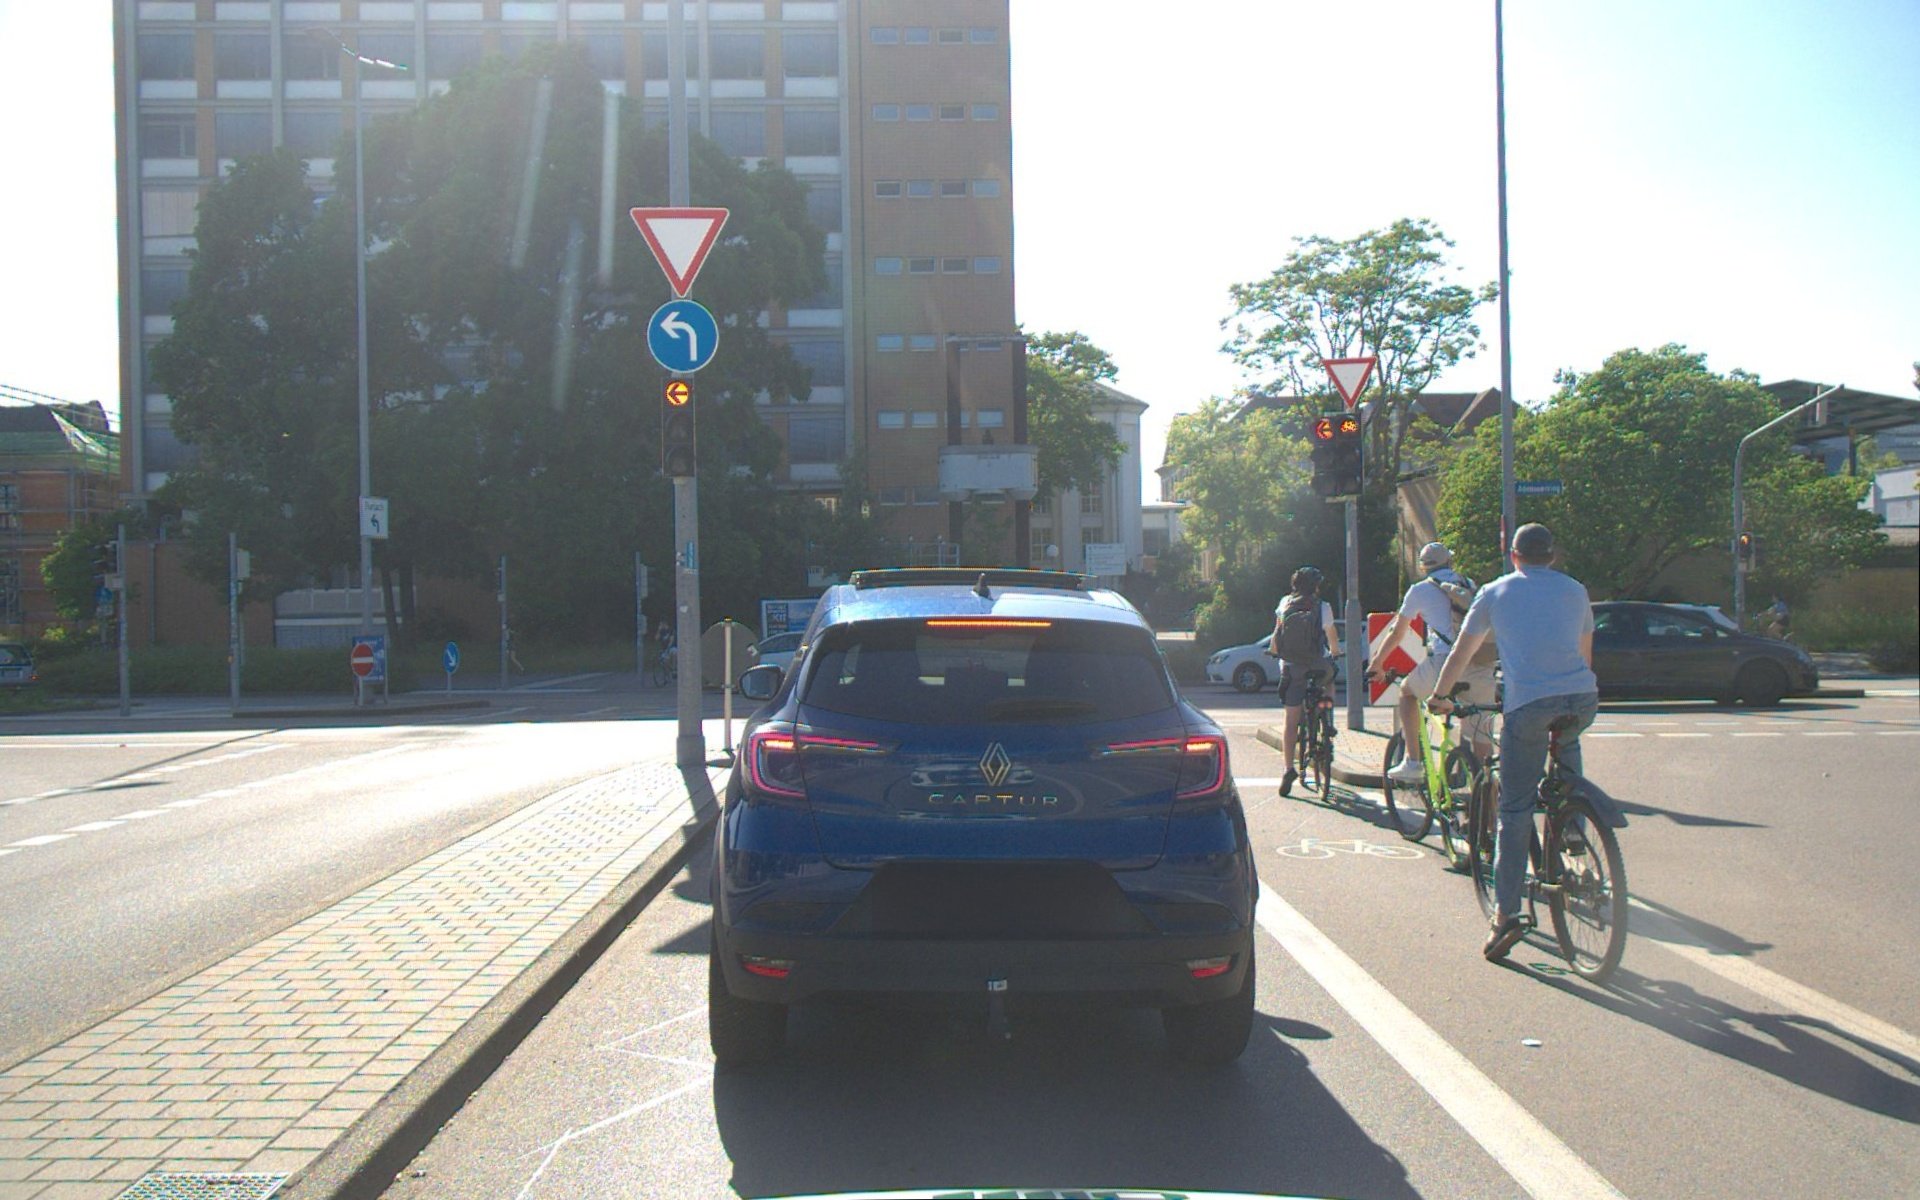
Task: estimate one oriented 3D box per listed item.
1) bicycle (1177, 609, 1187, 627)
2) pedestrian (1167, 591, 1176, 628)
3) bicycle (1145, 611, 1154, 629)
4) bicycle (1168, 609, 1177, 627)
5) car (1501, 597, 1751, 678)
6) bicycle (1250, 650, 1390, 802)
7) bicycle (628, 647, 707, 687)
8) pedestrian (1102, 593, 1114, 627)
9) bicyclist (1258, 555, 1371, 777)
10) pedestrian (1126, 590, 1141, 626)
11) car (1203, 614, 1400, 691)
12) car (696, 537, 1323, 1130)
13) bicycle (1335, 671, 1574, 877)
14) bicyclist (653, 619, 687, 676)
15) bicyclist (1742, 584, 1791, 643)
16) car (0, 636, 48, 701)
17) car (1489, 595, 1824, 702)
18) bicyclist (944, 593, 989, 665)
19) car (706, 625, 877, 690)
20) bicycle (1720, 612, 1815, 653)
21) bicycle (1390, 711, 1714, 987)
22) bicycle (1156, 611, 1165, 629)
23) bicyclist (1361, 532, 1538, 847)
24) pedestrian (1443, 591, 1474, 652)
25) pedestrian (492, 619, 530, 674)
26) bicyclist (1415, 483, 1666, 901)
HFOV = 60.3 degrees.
[{"bbox_3d":[12.687,1.029,94.593,0.397,0.990,1.684,1,0,3],"label":"bicycle"},{"bbox_3d":[11.834,0.536,92.566,0.465,2.049,0.468,-1,0,5],"label":"pedestrian"},{"bbox_3d":[10.802,1.142,94.227,0.397,0.990,1.684,1,0,3],"label":"bicycle"},{"bbox_3d":[12.163,1.020,94.572,0.397,0.990,1.684,1,0,3],"label":"bicycle"},{"bbox_3d":[14.423,0.798,36.050,4.721,1.660,1.845,-1,0,7],"label":"car"},{"bbox_3d":[2.766,0.934,12.928,0.723,1.012,2.174,1,0,3],"label":"bicycle"},{"bbox_3d":[-7.714,1.761,43.623,1.982,0.981,0.593,-1,0,-28],"label":"bicycle"},{"bbox_3d":[8.211,0.537,91.822,0.599,1.888,0.467,-1,0,5],"label":"pedestrian"},{"bbox_3d":[2.765,0.499,12.979,0.711,1.657,0.969,1,0,3],"label":"bicyclist"},{"bbox_3d":[9.204,0.419,87.731,0.614,1.888,0.560,-1,0,-17],"label":"pedestrian"},{"bbox_3d":[6.885,1.056,33.680,3.755,1.460,1.744,-1,0,6],"label":"car"},{"bbox_3d":[0.066,0.666,6.686,1.767,1.660,3.998,1,0,-3],"label":"car"},{"bbox_3d":[2.876,0.976,9.849,0.646,1.020,1.967,1,0,-6],"label":"bicycle"},{"bbox_3d":[-7.666,1.237,43.650,0.728,1.466,0.593,-1,0,-27],"label":"bicyclist"},{"bbox_3d":[20.206,0.326,41.441,0.917,1.454,0.599,-1,0,5],"label":"bicyclist"},{"bbox_3d":[-23.566,1.590,37.677,4.780,1.413,1.846,-1,0,10],"label":"car"},{"bbox_3d":[9.634,0.713,23.173,3.970,1.413,1.845,-1,-3,9],"label":"car"},{"bbox_3d":[0.184,0.772,44.251,1.078,1.900,0.653,-1,0,10],"label":"bicyclist"},{"bbox_3d":[-3.985,1.366,39.384,3.754,1.460,1.744,-1,-2,7],"label":"car"},{"bbox_3d":[20.215,0.809,41.430,2.032,0.981,0.599,-1,0,5],"label":"bicycle"},{"bbox_3d":[2.508,1.012,7.278,0.725,0.911,1.978,1,0,0],"label":"bicycle"},{"bbox_3d":[11.411,1.152,94.192,0.397,0.990,1.684,1,0,3],"label":"bicycle"},{"bbox_3d":[2.888,0.507,9.845,0.633,1.769,1.065,1,0,-6],"label":"bicyclist"},{"bbox_3d":[13.420,0.573,44.503,0.721,1.631,0.599,-1,0,12],"label":"pedestrian"},{"bbox_3d":[-13.527,1.398,49.850,0.842,1.598,0.560,-5,0,12],"label":"pedestrian"},{"bbox_3d":[2.515,0.378,7.276,0.736,1.698,1.016,1,0,0],"label":"bicyclist"}]
